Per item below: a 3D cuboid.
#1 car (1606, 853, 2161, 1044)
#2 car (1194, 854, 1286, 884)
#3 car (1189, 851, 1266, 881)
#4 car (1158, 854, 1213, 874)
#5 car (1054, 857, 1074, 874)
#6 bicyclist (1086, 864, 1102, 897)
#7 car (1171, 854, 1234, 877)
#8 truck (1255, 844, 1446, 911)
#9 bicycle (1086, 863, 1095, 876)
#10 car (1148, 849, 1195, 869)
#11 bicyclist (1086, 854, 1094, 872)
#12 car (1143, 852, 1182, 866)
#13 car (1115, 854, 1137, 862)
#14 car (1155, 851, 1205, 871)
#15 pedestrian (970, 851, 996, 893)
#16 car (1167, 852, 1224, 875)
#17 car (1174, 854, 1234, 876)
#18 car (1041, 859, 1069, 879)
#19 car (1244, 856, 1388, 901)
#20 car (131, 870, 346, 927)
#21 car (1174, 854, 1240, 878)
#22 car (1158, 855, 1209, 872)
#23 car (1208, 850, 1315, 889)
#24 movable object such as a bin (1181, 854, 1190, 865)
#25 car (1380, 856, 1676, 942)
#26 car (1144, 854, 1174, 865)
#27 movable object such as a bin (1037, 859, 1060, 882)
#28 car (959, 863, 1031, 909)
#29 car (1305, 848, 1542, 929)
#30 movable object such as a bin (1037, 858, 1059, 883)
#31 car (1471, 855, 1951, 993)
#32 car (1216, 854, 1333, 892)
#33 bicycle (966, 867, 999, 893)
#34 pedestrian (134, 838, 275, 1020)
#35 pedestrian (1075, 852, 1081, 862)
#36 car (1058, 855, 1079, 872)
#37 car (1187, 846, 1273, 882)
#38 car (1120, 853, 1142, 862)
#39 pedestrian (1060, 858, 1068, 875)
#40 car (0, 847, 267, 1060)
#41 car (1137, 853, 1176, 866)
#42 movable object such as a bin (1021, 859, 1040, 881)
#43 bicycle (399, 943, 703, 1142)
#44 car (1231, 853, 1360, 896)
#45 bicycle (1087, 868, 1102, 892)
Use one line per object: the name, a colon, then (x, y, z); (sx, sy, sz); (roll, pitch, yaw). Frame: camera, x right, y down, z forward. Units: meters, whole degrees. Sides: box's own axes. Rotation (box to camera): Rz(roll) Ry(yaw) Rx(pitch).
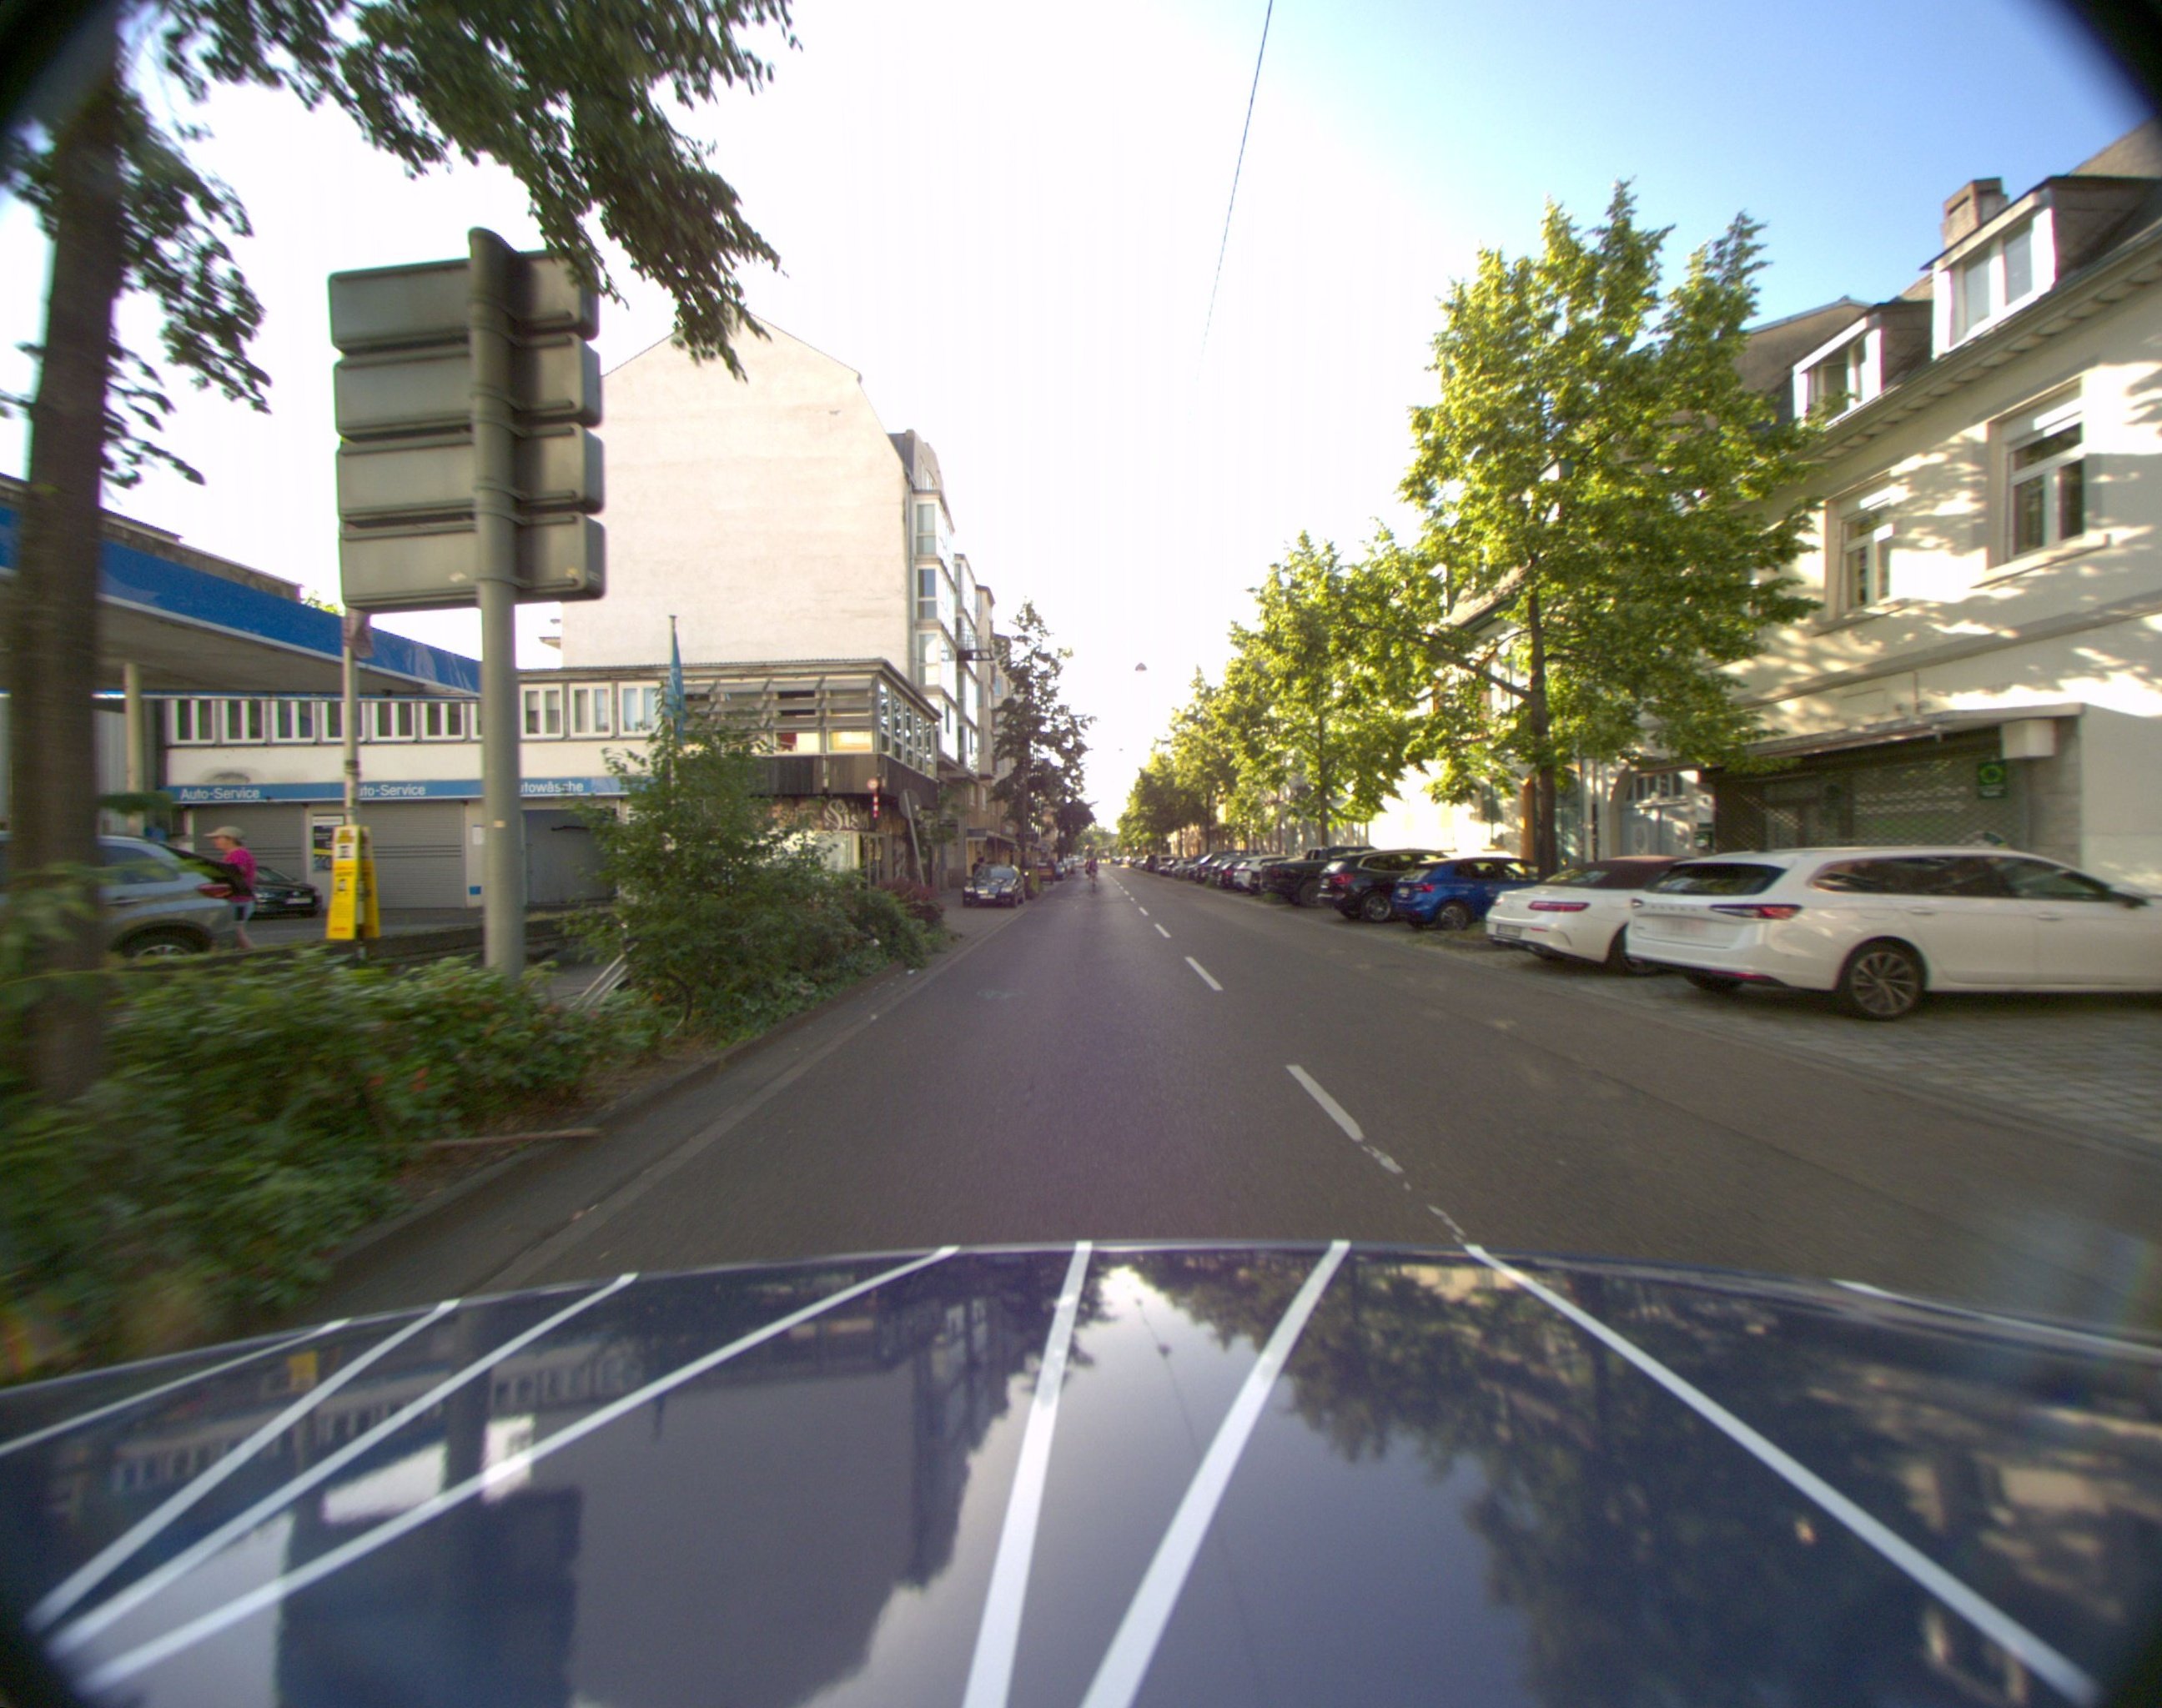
car: (7.928, 0.781, 7.155); (4.692, 1.456, 1.808); (-2, 0, 0)
car: (8.617, 0.814, 41.484); (4.657, 1.450, 1.684); (-2, 0, 1)
car: (9.209, 0.726, 48.056); (4.476, 1.761, 1.917); (-2, 0, 3)
car: (8.816, 0.851, 64.335); (4.476, 1.532, 1.917); (-2, 0, 3)
car: (-1.707, 1.159, 79.148); (1.826, 1.587, 4.842); (2, 0, 1)
bicyclist: (0.639, 1.253, 36.822); (0.718, 1.553, 0.864); (-1, 1, 1)
car: (9.101, 0.860, 57.214); (4.477, 1.532, 1.916); (-2, 0, 0)
truck: (8.070, 0.689, 23.091); (5.097, 1.927, 2.000); (0, 0, 1)
bicycle: (0.811, 1.287, 65.322); (0.666, 1.061, 1.836); (-2, 0, 1)
car: (9.203, 0.489, 77.484); (4.584, 1.915, 1.930); (-2, 0, 4)
bicyclist: (0.794, 0.767, 65.319); (0.658, 1.562, 0.909); (-2, 1, 1)
car: (9.959, 0.569, 92.759); (4.354, 1.535, 1.962); (-2, 0, -10)
car: (9.130, 0.804, 153.572); (4.006, 1.433, 1.995); (-2, 0, -30)
car: (9.426, 0.651, 72.533); (4.352, 1.823, 1.916); (-2, 0, -4)
pedestrian: (-4.595, 0.823, 35.638); (0.925, 1.924, 0.762); (-1, 0, 26)
car: (9.265, 0.766, 61.690); (4.350, 1.699, 1.916); (-2, 0, 1)
car: (9.621, 0.822, 59.577); (4.350, 1.572, 1.809); (-2, 0, 1)
car: (-1.999, 1.137, 59.724); (1.826, 1.463, 4.912); (2, 0, 1)
car: (8.520, 0.873, 27.838); (4.691, 1.454, 1.808); (-2, 0, 3)
car: (-21.775, 1.104, 19.714); (3.994, 1.350, 1.908); (0, 0, 10)
car: (9.001, 0.854, 54.620); (4.476, 1.532, 1.917); (-2, 0, 5)
car: (9.350, 0.862, 69.674); (4.350, 1.430, 1.916); (-2, 0, -1)
car: (8.562, 0.739, 36.263); (4.691, 1.702, 1.808); (-2, 0, 3)
movable object such as a bin: (13.865, 0.693, 101.040); (1.136, 1.436, 1.382); (-2, 0, 4)
car: (8.584, 0.841, 14.923); (4.691, 1.455, 1.808); (-2, 0, 3)
car: (11.500, 0.803, 112.450); (4.349, 1.535, 1.945); (-2, 0, 3)
movable object such as a bin: (-2.123, 1.093, 50.000); (1.402, 1.445, 1.146); (-1, 0, 1)
car: (-2.879, 1.045, 26.441); (1.905, 1.404, 4.647); (1, 0, 1)
car: (7.822, 0.771, 17.705); (4.691, 1.683, 1.808); (-2, 0, 3)
movable object such as a bin: (-2.100, 1.057, 48.835); (1.334, 1.533, 1.146); (-1, 0, 1)
car: (7.804, 0.810, 9.726); (4.693, 1.456, 1.808); (-2, 0, -2)
car: (8.400, 0.816, 33.271); (4.691, 1.510, 1.808); (-2, 0, 3)
bicycle: (-4.551, 1.198, 34.887); (0.683, 1.142, 1.680); (-1, 0, -41)
pedestrian: (-9.295, 0.760, 8.092); (0.689, 1.839, 0.708); (0, 0, -15)
pedestrian: (-0.565, 0.562, 129.603); (0.693, 1.709, 0.897); (1, 1, 25)
car: (-1.381, 1.057, 85.506); (1.826, 1.767, 4.932); (2, 0, 5)
car: (8.680, 0.562, 44.692); (4.691, 1.938, 1.917); (-2, 0, 3)
car: (9.995, 0.731, 151.339); (4.006, 1.553, 1.995); (-2, 0, -30)
pedestrian: (-1.543, 1.090, 68.467); (0.652, 1.527, 0.980); (-1, 0, 0)
car: (-9.285, 0.768, 5.573); (1.905, 1.638, 4.294); (0, 0, 3)
car: (9.890, 0.667, 99.747); (4.712, 1.483, 1.999); (-2, 1, -3)
movable object such as a bin: (-3.257, 1.024, 48.738); (1.080, 1.423, 1.295); (-1, 0, 1)
bicycle: (-3.565, 1.202, 5.272); (0.435, 0.983, 1.675); (0, 0, 36)
car: (8.524, 0.805, 30.486); (4.691, 1.563, 1.808); (-2, 0, 3)
bicycle: (0.661, 1.249, 37.208); (0.718, 1.105, 2.269); (-1, 0, 1)
